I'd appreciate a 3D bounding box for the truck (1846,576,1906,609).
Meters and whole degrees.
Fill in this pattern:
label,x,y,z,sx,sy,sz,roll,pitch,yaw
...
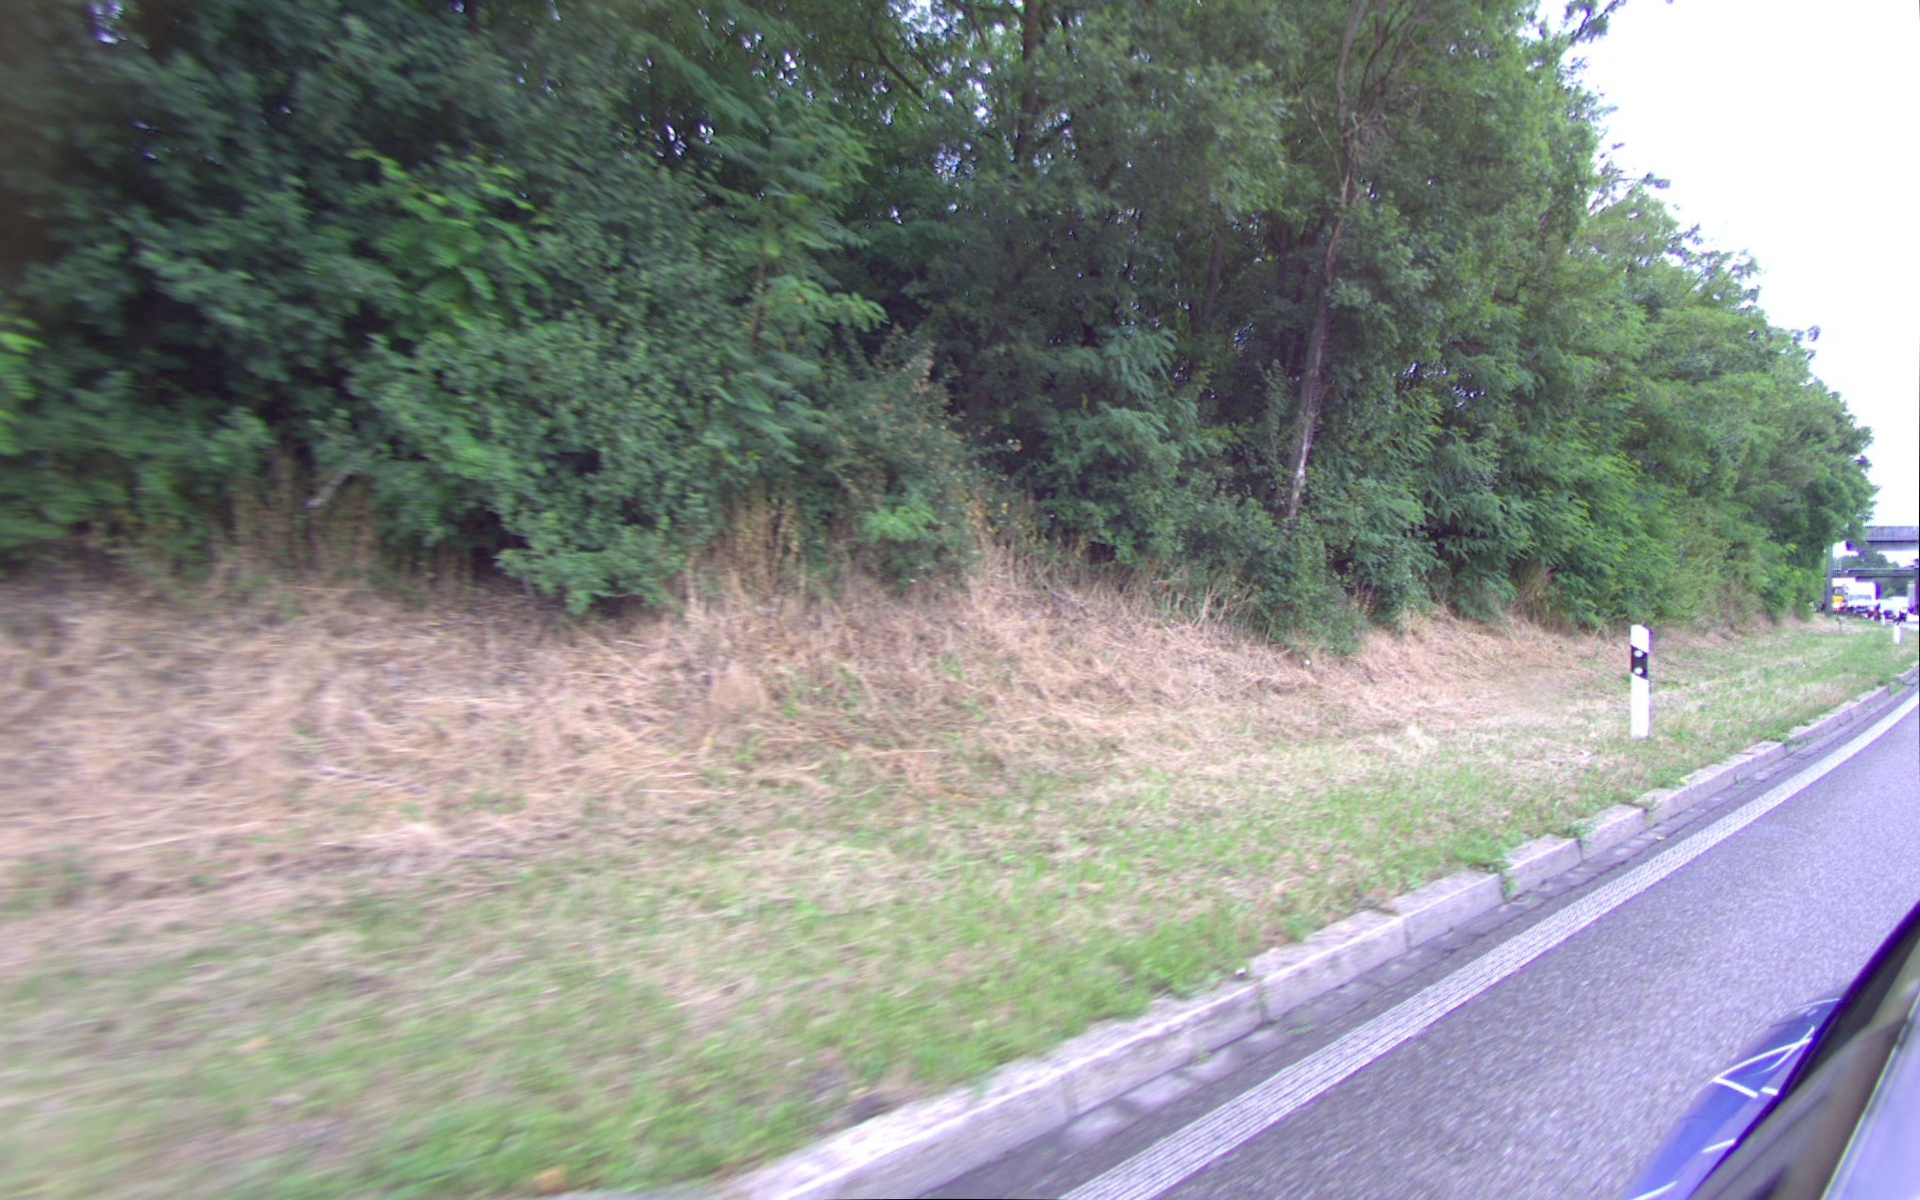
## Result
label,x,y,z,sx,sy,sz,roll,pitch,yaw
truck,91.049,-0.787,100.731,3.344,3.156,7.153,-1,0,33

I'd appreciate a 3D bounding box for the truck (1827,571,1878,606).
label,x,y,z,sx,sy,sz,roll,pitch,yaw
truck,108.697,-1.423,123.409,3.344,4.116,10.060,-1,0,34

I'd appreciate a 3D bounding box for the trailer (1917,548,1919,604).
label,x,y,z,sx,sy,sz,roll,pitch,yaw
trailer,67.761,-1.657,68.293,2.829,4.087,12.918,-1,0,36
